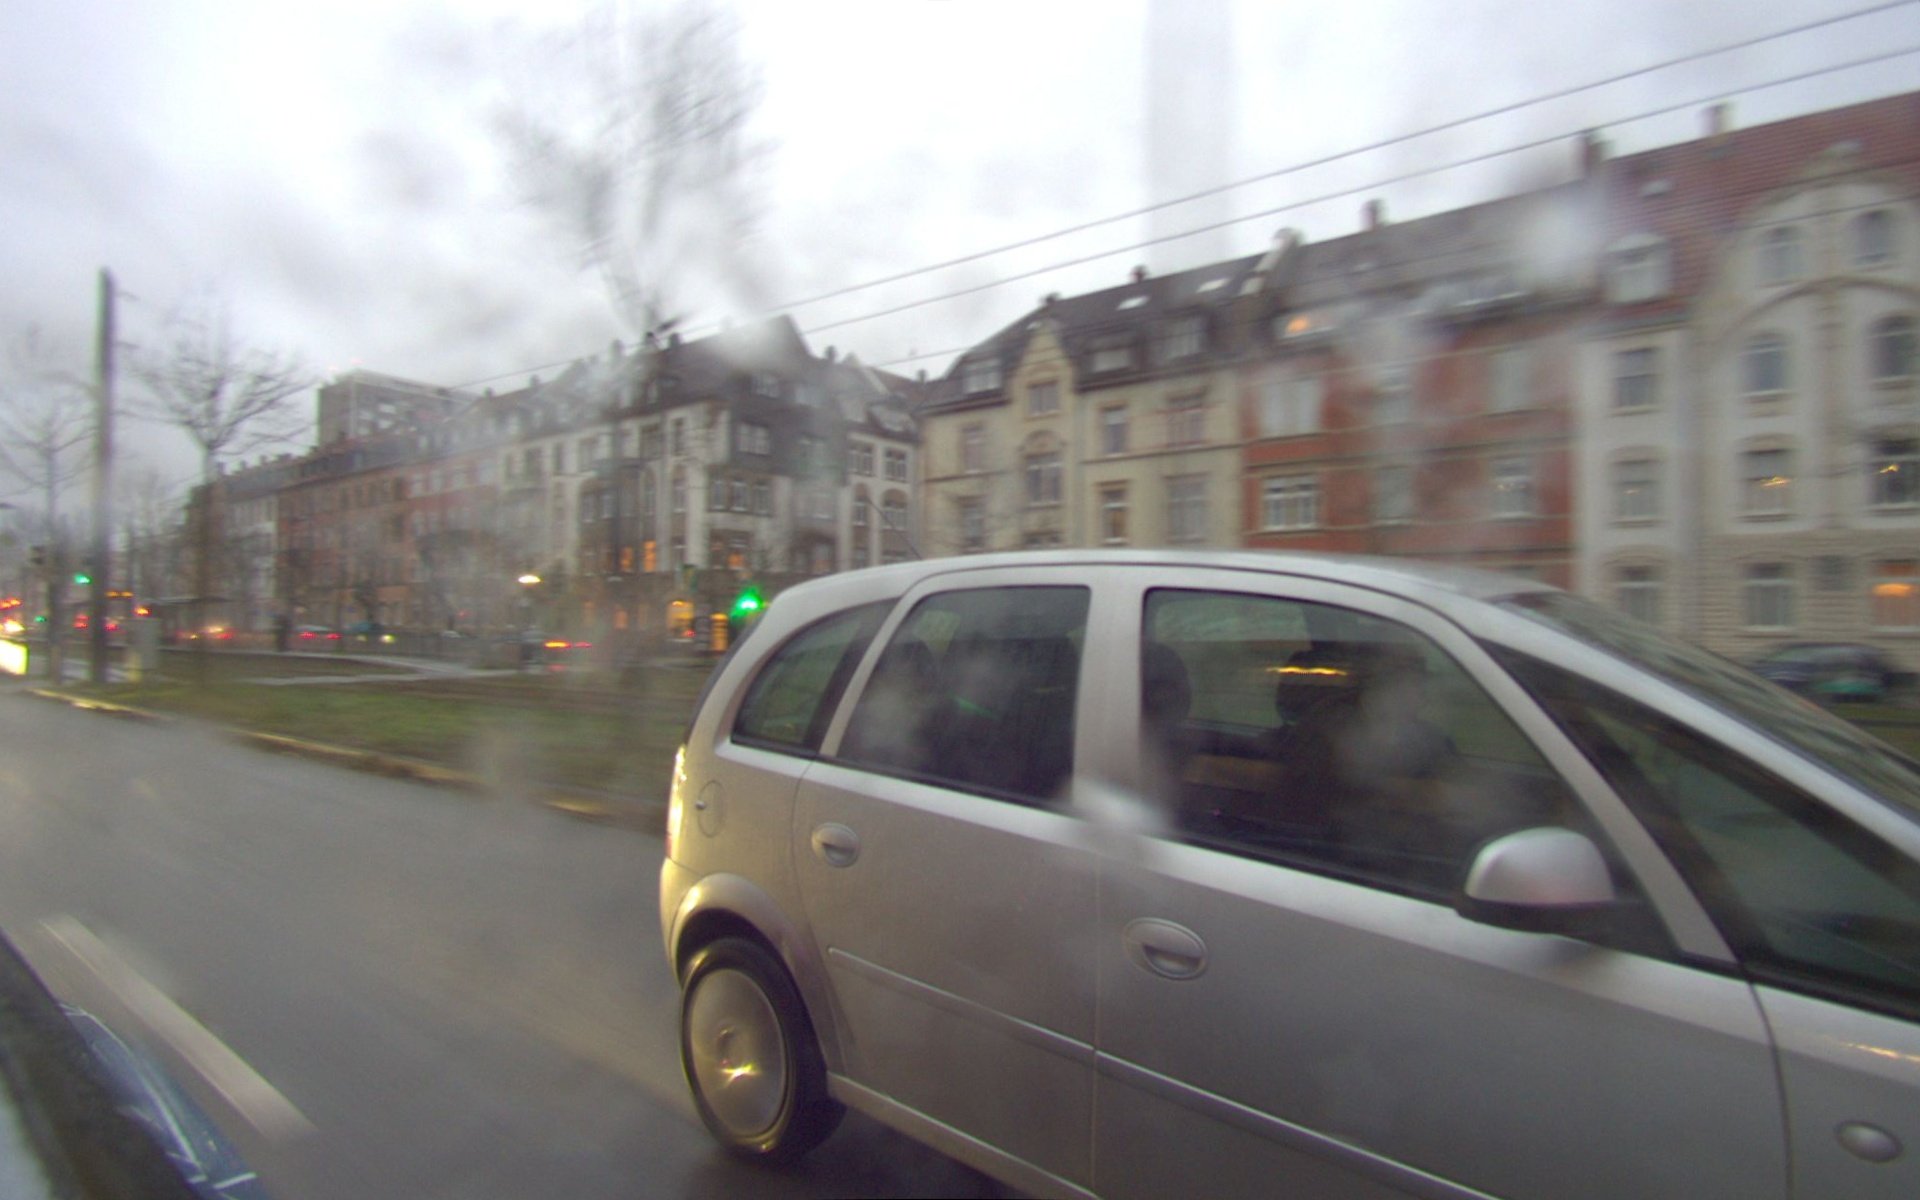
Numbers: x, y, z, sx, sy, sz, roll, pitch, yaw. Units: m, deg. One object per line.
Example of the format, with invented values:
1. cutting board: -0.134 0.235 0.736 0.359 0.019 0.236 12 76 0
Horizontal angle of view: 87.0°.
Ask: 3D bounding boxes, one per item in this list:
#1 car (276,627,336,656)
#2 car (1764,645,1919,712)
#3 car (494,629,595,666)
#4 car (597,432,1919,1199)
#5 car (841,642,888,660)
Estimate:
1. car: -39.767 2.491 61.509 3.995 1.650 1.846 -1 1 39
2. car: 18.096 1.472 19.534 3.933 1.178 2.005 1 -2 -13
3. car: -17.285 1.941 41.998 4.694 1.464 1.846 -1 -3 39
4. car: 1.065 0.636 2.305 4.050 1.612 1.791 -1 -1 40
5. car: -6.014 3.198 63.879 1.329 1.083 2.862 -1 -3 38
